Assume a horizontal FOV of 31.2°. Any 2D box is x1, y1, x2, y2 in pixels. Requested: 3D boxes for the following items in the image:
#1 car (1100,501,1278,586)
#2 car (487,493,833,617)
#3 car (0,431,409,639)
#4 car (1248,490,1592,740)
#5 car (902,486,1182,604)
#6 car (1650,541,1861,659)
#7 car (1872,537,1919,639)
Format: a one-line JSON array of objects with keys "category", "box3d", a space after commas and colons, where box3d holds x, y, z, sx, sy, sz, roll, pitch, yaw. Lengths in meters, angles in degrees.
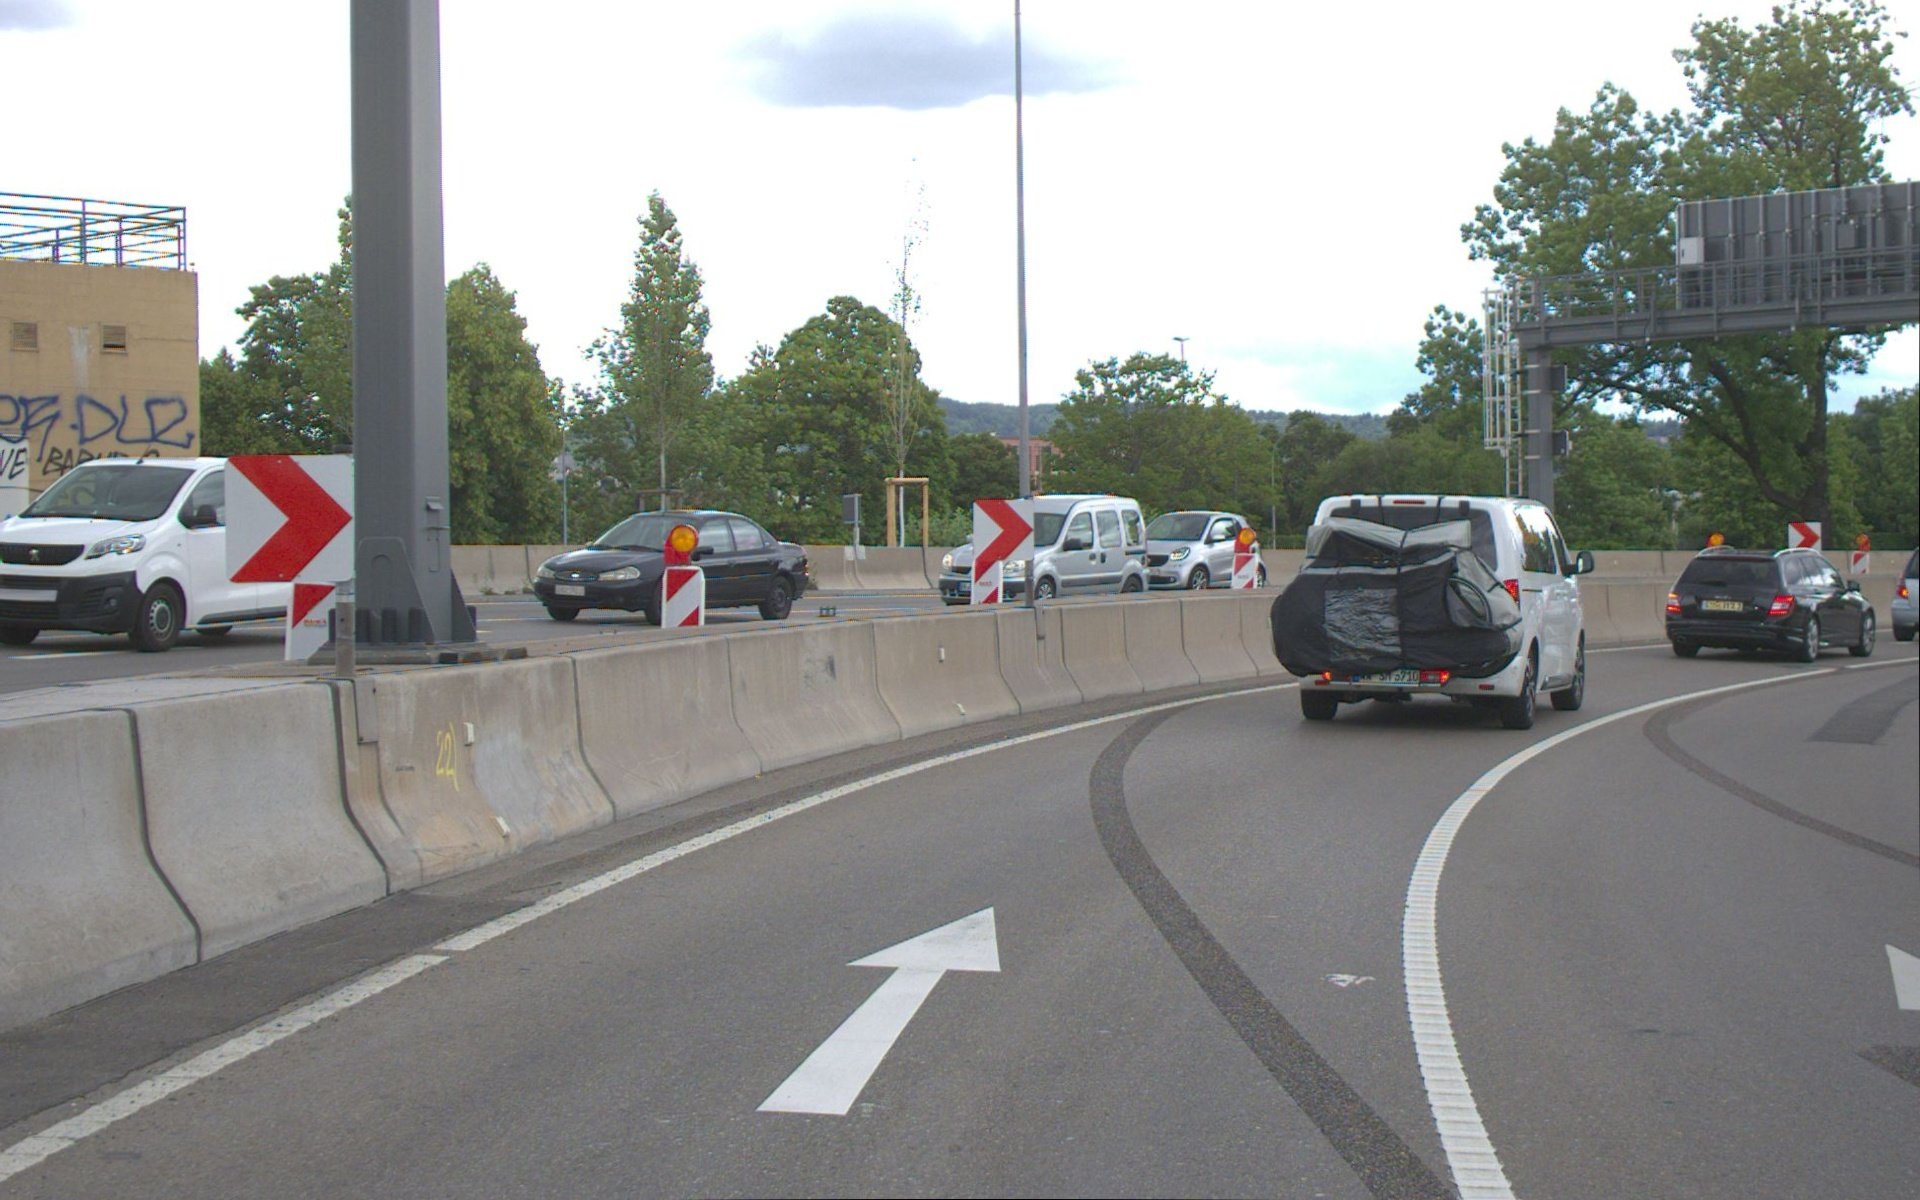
[{"category": "car", "box3d": [4.102, -1.000, 61.381, 1.630, 1.470, 2.933, 2, 2, 45]}, {"category": "car", "box3d": [-3.762, -0.578, 43.938, 1.997, 1.483, 4.579, 2, 1, 33]}, {"category": "car", "box3d": [-7.871, -0.657, 34.878, 2.240, 1.945, 5.099, 1, 1, 21]}, {"category": "car", "box3d": [3.964, 0.047, 28.729, 1.994, 1.852, 5.637, 1, 1, 16]}, {"category": "car", "box3d": [1.272, -0.822, 51.369, 1.998, 1.680, 4.250, 2, 1, 39]}, {"category": "car", "box3d": [10.230, -0.027, 44.036, 1.817, 1.429, 4.060, -1, 1, 25]}, {"category": "car", "box3d": [15.457, -0.198, 51.751, 1.925, 1.483, 4.056, 1, 2, 37]}]
